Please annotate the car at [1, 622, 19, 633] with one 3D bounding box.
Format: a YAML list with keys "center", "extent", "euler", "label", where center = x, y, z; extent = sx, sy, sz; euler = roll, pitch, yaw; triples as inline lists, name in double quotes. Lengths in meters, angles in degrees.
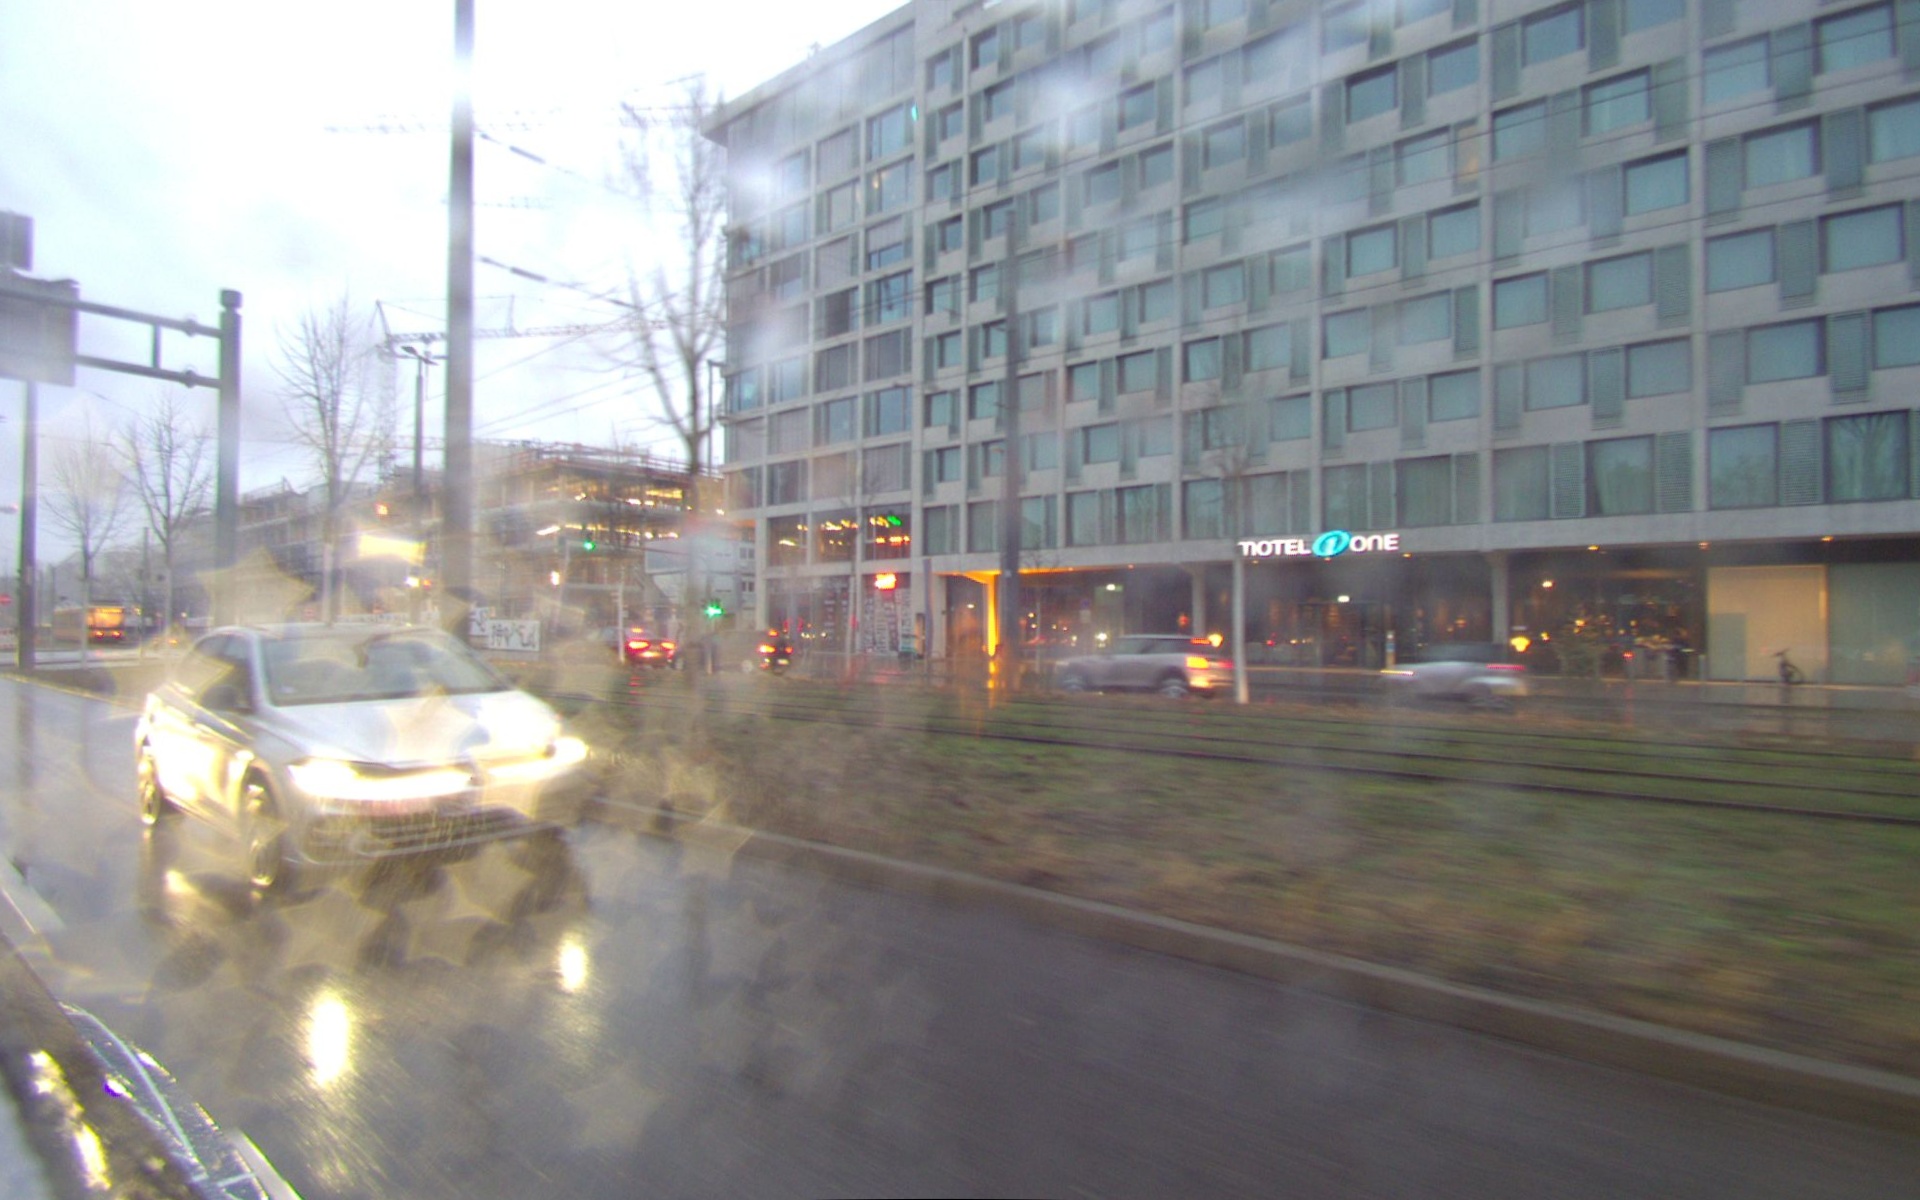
- center: [-180.073, 5.285, 191.833]
  extent: [3.998, 2.029, 1.973]
  euler: [-2, -3, 41]
  label: "car"

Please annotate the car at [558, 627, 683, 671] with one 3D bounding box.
- center: [-12.111, 1.700, 35.940]
  extent: [5.032, 1.479, 1.972]
  euler: [-2, -3, 42]
  label: "car"

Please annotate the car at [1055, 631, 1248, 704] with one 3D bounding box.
- center: [4.107, 1.399, 21.973]
  extent: [3.704, 1.442, 1.876]
  euler: [-2, -3, 40]
  label: "car"

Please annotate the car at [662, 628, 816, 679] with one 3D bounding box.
- center: [-6.912, 1.641, 31.611]
  extent: [4.425, 1.508, 1.983]
  euler: [-1, -2, 26]
  label: "car"

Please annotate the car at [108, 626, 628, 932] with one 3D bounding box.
- center: [-4.058, 0.879, 6.667]
  extent: [3.978, 1.381, 1.745]
  euler: [-1, -1, 40]
  label: "car"

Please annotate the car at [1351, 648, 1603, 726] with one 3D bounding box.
- center: [11.664, 1.896, 23.040]
  extent: [4.790, 1.528, 1.876]
  euler: [-2, -3, 41]
  label: "car"
